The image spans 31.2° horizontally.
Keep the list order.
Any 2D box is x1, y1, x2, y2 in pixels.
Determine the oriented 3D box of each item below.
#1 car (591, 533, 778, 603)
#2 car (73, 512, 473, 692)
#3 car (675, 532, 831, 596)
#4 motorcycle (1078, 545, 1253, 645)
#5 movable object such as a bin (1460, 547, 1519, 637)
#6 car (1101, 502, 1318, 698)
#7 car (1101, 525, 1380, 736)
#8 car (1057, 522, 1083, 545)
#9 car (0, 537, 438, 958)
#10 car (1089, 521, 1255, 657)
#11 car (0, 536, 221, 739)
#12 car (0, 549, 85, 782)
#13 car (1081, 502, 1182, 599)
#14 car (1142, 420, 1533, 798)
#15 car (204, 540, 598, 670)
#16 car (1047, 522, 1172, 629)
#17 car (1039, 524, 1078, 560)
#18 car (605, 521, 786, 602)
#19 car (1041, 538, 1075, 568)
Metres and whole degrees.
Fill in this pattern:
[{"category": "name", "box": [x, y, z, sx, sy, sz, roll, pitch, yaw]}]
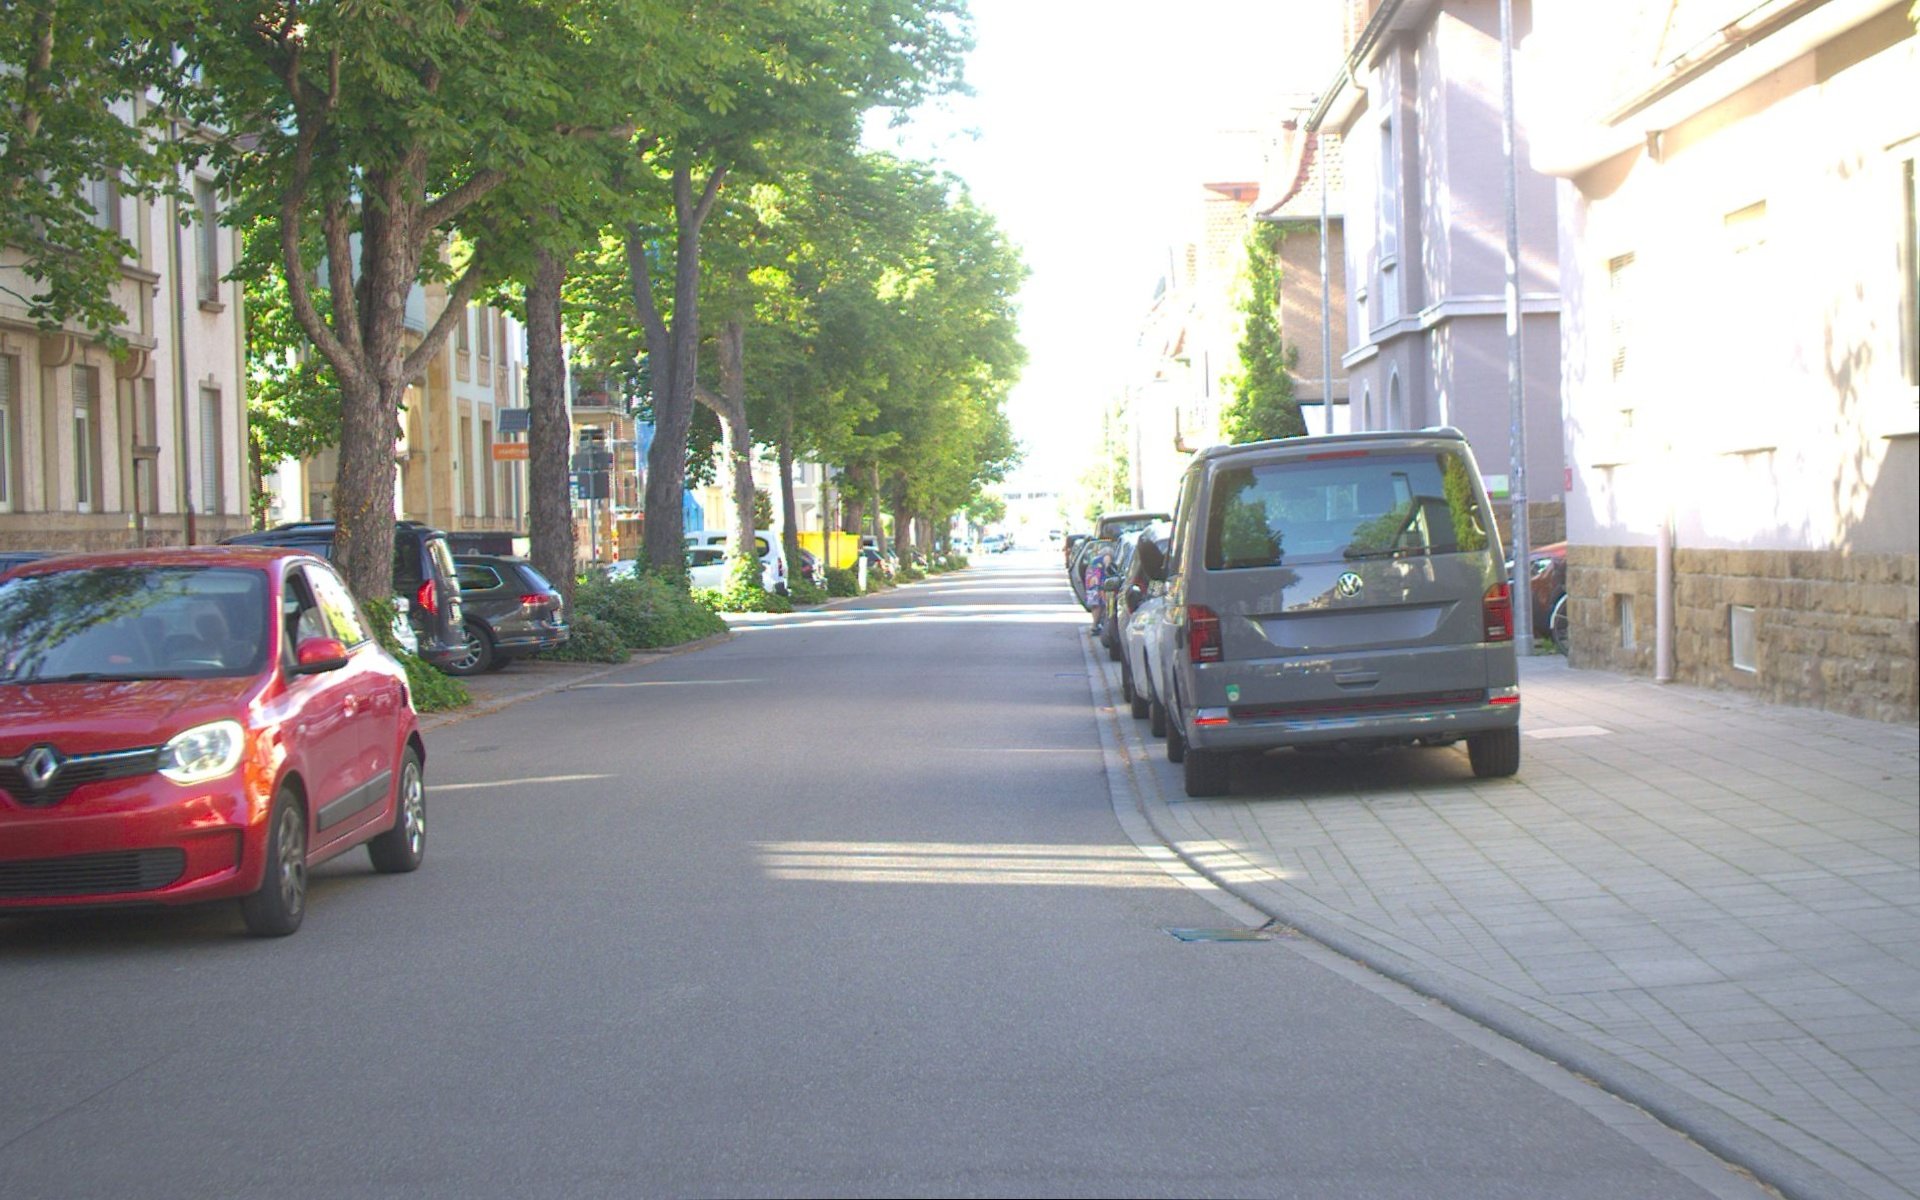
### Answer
[{"category": "car", "box": [-5.984, -0.688, 75.016, 3.986, 1.459, 1.798, 1, 0, -2]}, {"category": "car", "box": [-7.491, 0.006, 37.750, 3.979, 1.849, 1.829, -1, 1, 0]}, {"category": "car", "box": [-5.505, -0.954, 91.121, 3.986, 1.546, 1.838, -2, 1, -6]}, {"category": "motorcycle", "box": [2.820, -0.073, 47.213, 2.192, 1.334, 0.922, 0, 2, -19]}, {"category": "movable object such as a bin", "box": [6.360, -0.100, 41.299, 0.568, 1.036, 0.618, -2, 1, -1]}, {"category": "car", "box": [2.266, -0.048, 32.073, 1.789, 1.595, 4.000, -4, 1, 2]}, {"category": "car", "box": [2.107, 0.173, 26.904, 1.678, 1.452, 4.439, -2, 1, -1]}, {"category": "car", "box": [8.161, -4.934, 254.657, 1.771, 1.625, 3.866, -1, 1, 3]}, {"category": "car", "box": [-3.372, 0.527, 14.558, 1.641, 1.503, 3.702, -3, 1, 1]}, {"category": "car", "box": [2.568, -0.181, 42.497, 1.854, 1.488, 4.607, -3, 1, 2]}, {"category": "car", "box": [-8.243, 0.291, 28.076, 3.987, 1.587, 1.859, 0, 1, 1]}, {"category": "car", "box": [-8.123, 0.444, 23.139, 3.987, 1.509, 1.747, -1, 0, 2]}, {"category": "car", "box": [3.645, -1.086, 73.750, 1.904, 1.864, 4.673, -4, 1, 1]}, {"category": "car", "box": [2.138, -0.003, 20.712, 1.865, 1.909, 4.782, -3, 1, 2]}, {"category": "car", "box": [-6.866, 0.046, 42.539, 4.532, 1.498, 1.892, -1, 1, 0]}, {"category": "car", "box": [2.344, -0.415, 54.731, 1.699, 1.534, 4.155, -4, 1, 0]}, {"category": "car", "box": [4.683, -2.772, 163.000, 1.771, 1.625, 3.866, -1, 1, 3]}, {"category": "car", "box": [-5.936, -0.870, 77.494, 3.986, 1.755, 1.798, 1, 0, -2]}, {"category": "car", "box": [5.452, -2.636, 191.622, 1.771, 1.625, 3.866, -1, 1, 3]}]
